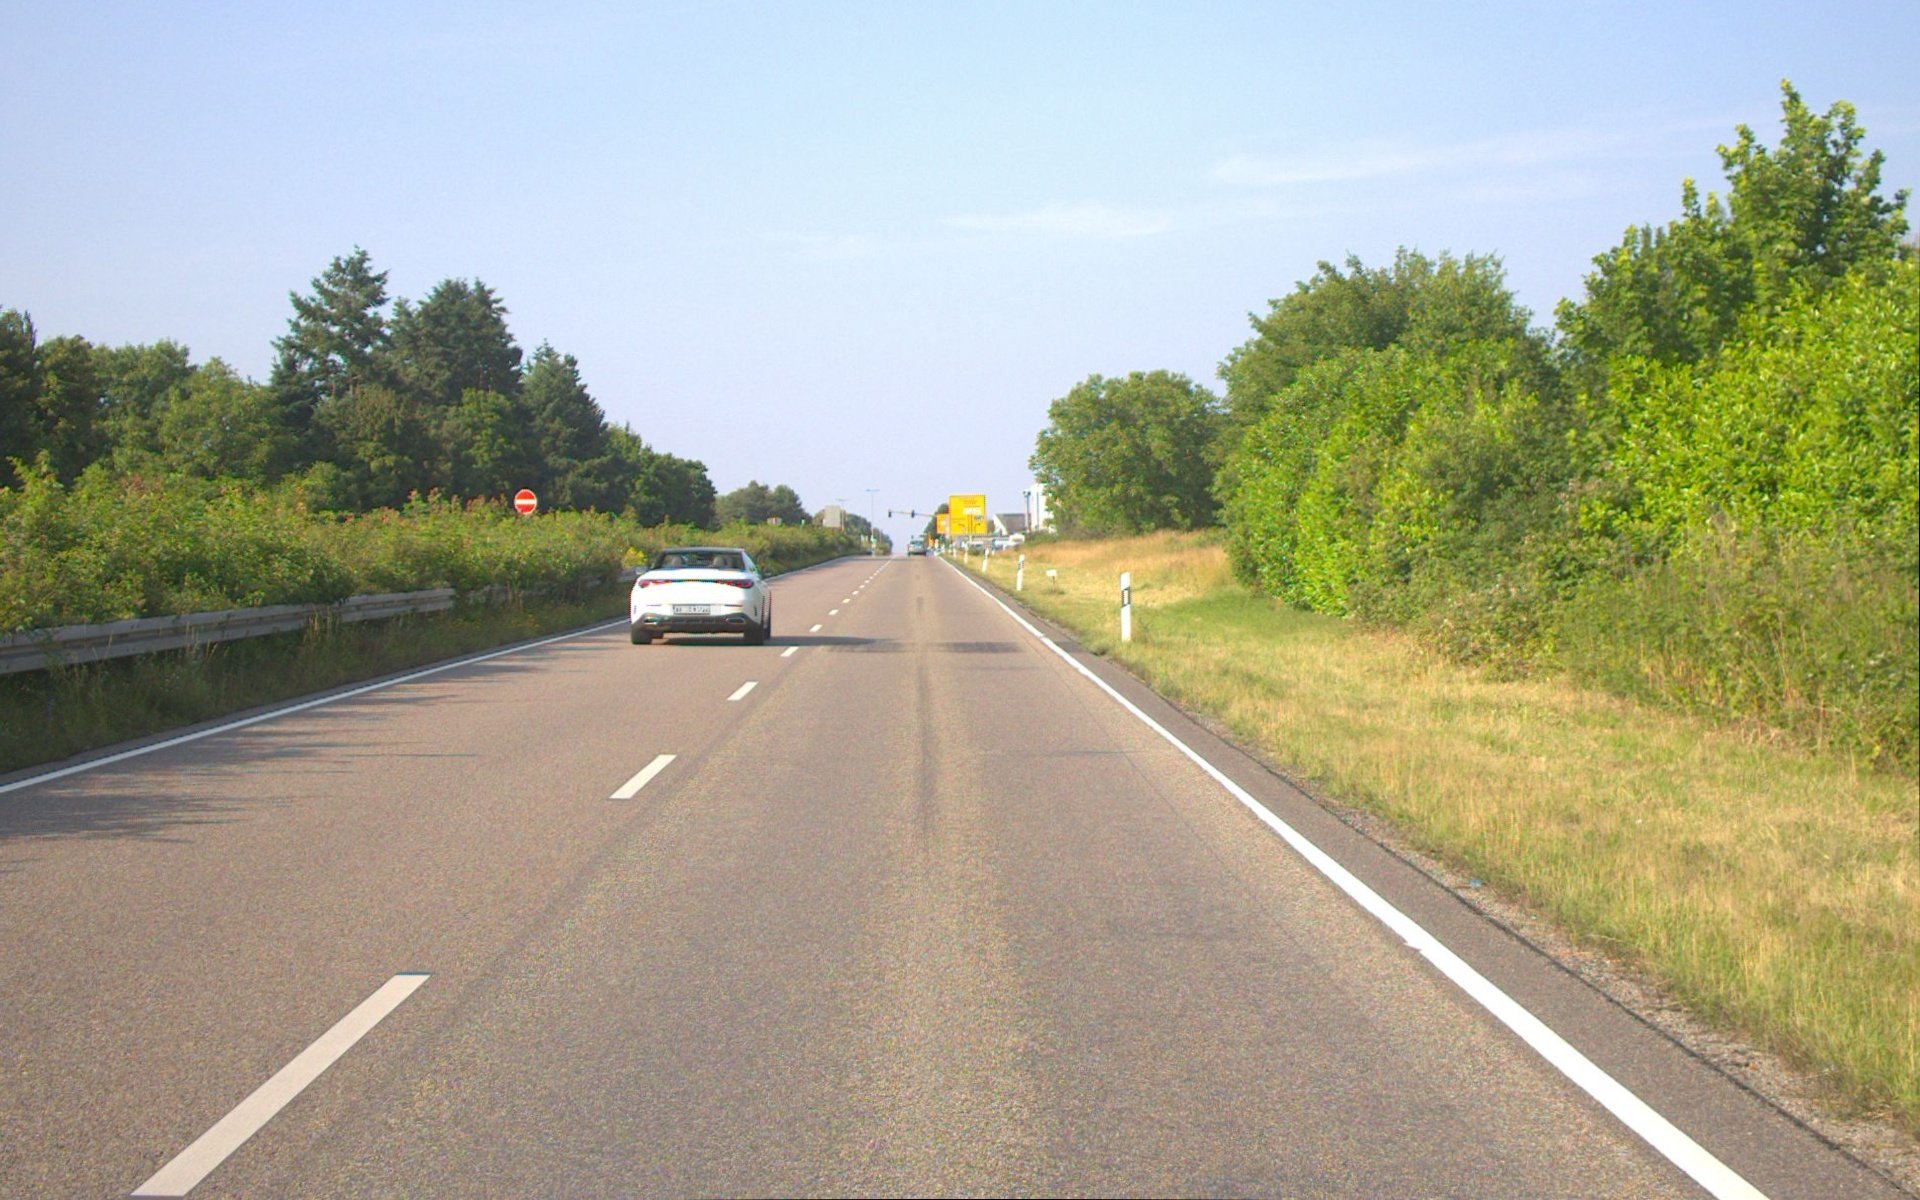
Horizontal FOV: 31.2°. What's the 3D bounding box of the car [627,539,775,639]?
[{"bbox_3d":[-3.675,-0.181,49.490,1.771,1.333,4.950,1,1,0],"label":"car"}]
